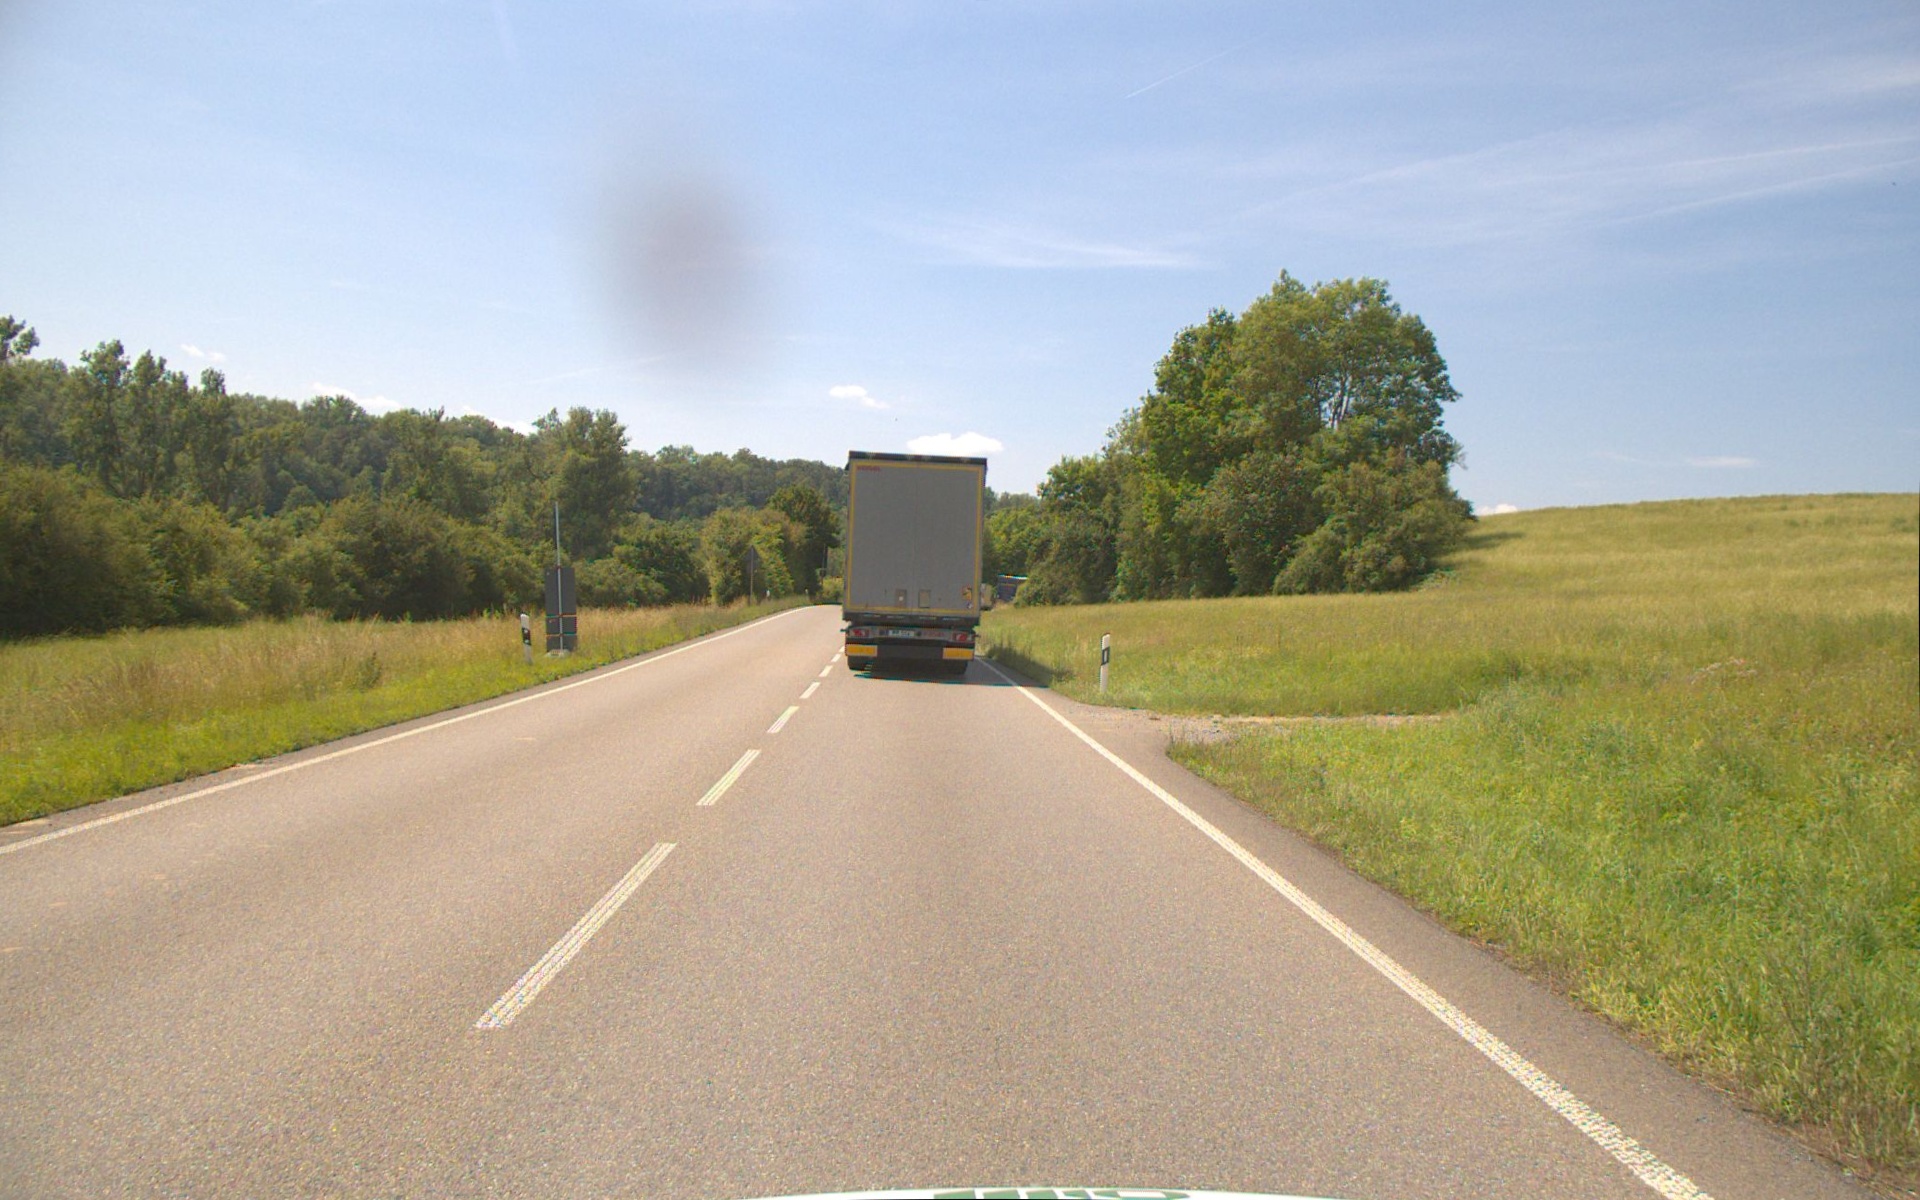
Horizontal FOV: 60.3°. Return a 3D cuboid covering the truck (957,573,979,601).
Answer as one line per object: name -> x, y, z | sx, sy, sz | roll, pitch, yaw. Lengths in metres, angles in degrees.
truck -> 0.836, -1.369, 172.889 | 2.306, 2.875, 5.059 | 0, 0, 0

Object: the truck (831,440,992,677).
truck -> -1.352, -0.733, 37.163 | 2.746, 4.140, 15.313 | 2, 0, -4

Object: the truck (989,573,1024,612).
truck -> 5.625, -0.763, 196.416 | 3.234, 4.463, 13.420 | 0, -1, 6
